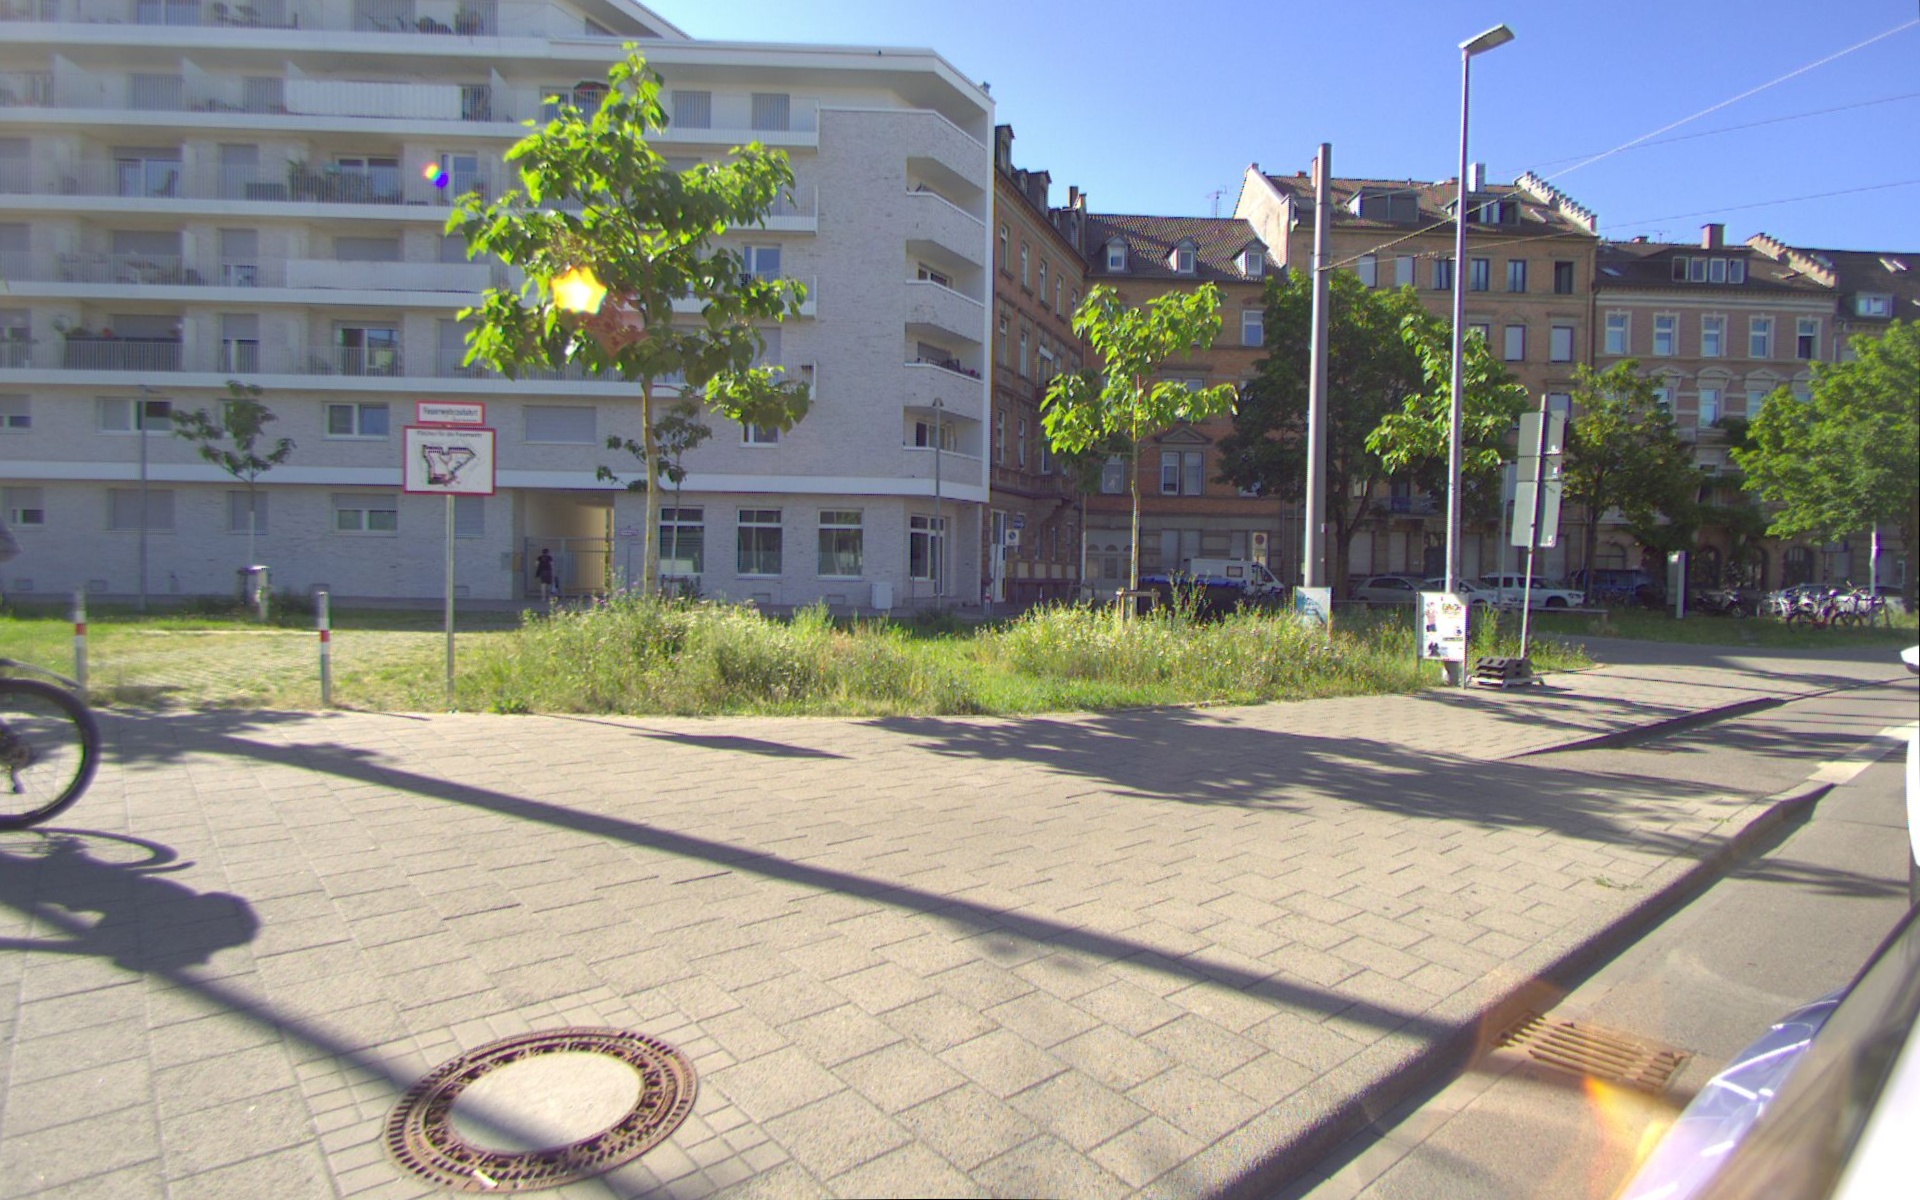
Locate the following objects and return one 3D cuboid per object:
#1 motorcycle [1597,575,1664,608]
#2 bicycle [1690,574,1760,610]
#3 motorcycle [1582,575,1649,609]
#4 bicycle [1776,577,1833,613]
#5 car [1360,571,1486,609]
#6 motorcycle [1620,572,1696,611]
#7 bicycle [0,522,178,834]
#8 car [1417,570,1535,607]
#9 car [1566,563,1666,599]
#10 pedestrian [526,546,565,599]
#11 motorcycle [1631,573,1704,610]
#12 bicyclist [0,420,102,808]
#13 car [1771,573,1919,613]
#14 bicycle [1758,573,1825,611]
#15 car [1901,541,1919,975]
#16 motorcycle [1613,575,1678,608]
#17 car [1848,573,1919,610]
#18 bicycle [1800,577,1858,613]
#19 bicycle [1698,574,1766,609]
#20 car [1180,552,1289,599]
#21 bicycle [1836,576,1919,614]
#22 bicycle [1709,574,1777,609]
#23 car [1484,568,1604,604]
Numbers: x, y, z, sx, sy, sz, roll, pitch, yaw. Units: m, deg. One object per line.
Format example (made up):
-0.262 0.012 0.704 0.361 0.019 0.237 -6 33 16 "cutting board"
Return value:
26.688 -0.337 40.353 0.649 1.300 2.324 0 0 -18 "motorcycle"
28.360 -0.311 37.561 0.649 1.284 2.208 0 0 -11 "bicycle"
26.017 -0.329 40.222 0.649 1.293 2.324 0 0 -18 "motorcycle"
30.931 -0.185 37.106 0.653 1.284 2.196 0 0 12 "bicycle"
17.340 -0.424 38.104 1.648 1.267 4.170 0 3 -28 "car"
25.329 -0.307 36.776 0.650 1.347 2.207 0 0 -28 "motorcycle"
-4.926 0.333 4.609 2.031 1.378 0.739 0 1 -20 "bicycle"
19.663 -0.469 38.714 1.648 1.267 3.709 0 3 -28 "car"
30.867 -0.921 47.646 3.631 1.607 1.552 1 2 0 "car"
-13.904 -0.917 33.959 0.829 1.717 0.985 2 2 2 "pedestrian"
26.145 -0.322 37.465 0.649 1.339 2.208 0 0 -23 "motorcycle"
-4.733 0.054 4.694 0.951 1.715 0.737 0 1 -20 "bicyclist"
34.676 -0.320 39.588 1.651 1.423 4.324 -1 3 -38 "car"
29.264 -0.292 35.669 0.651 1.284 2.202 0 0 4 "bicycle"
5.856 0.607 4.714 4.323 1.667 1.840 0 0 -43 "car"
27.479 -0.335 40.607 0.649 1.284 2.209 0 0 -18 "motorcycle"
37.813 -0.329 39.957 1.649 1.423 3.832 -1 3 -32 "car"
32.025 -0.193 37.330 0.653 1.284 2.196 0 0 12 "bicycle"
29.071 -0.320 38.148 0.649 1.284 2.208 0 0 -9 "bicycle"
12.652 -1.157 46.780 4.416 2.062 2.054 1 2 0 "car"
31.620 -0.166 34.759 2.180 1.284 0.657 0 0 25 "bicycle"
29.714 -0.326 38.459 0.649 1.284 2.208 0 0 -9 "bicycle"
22.319 -0.580 38.770 1.513 1.267 3.700 -1 3 -39 "car"
